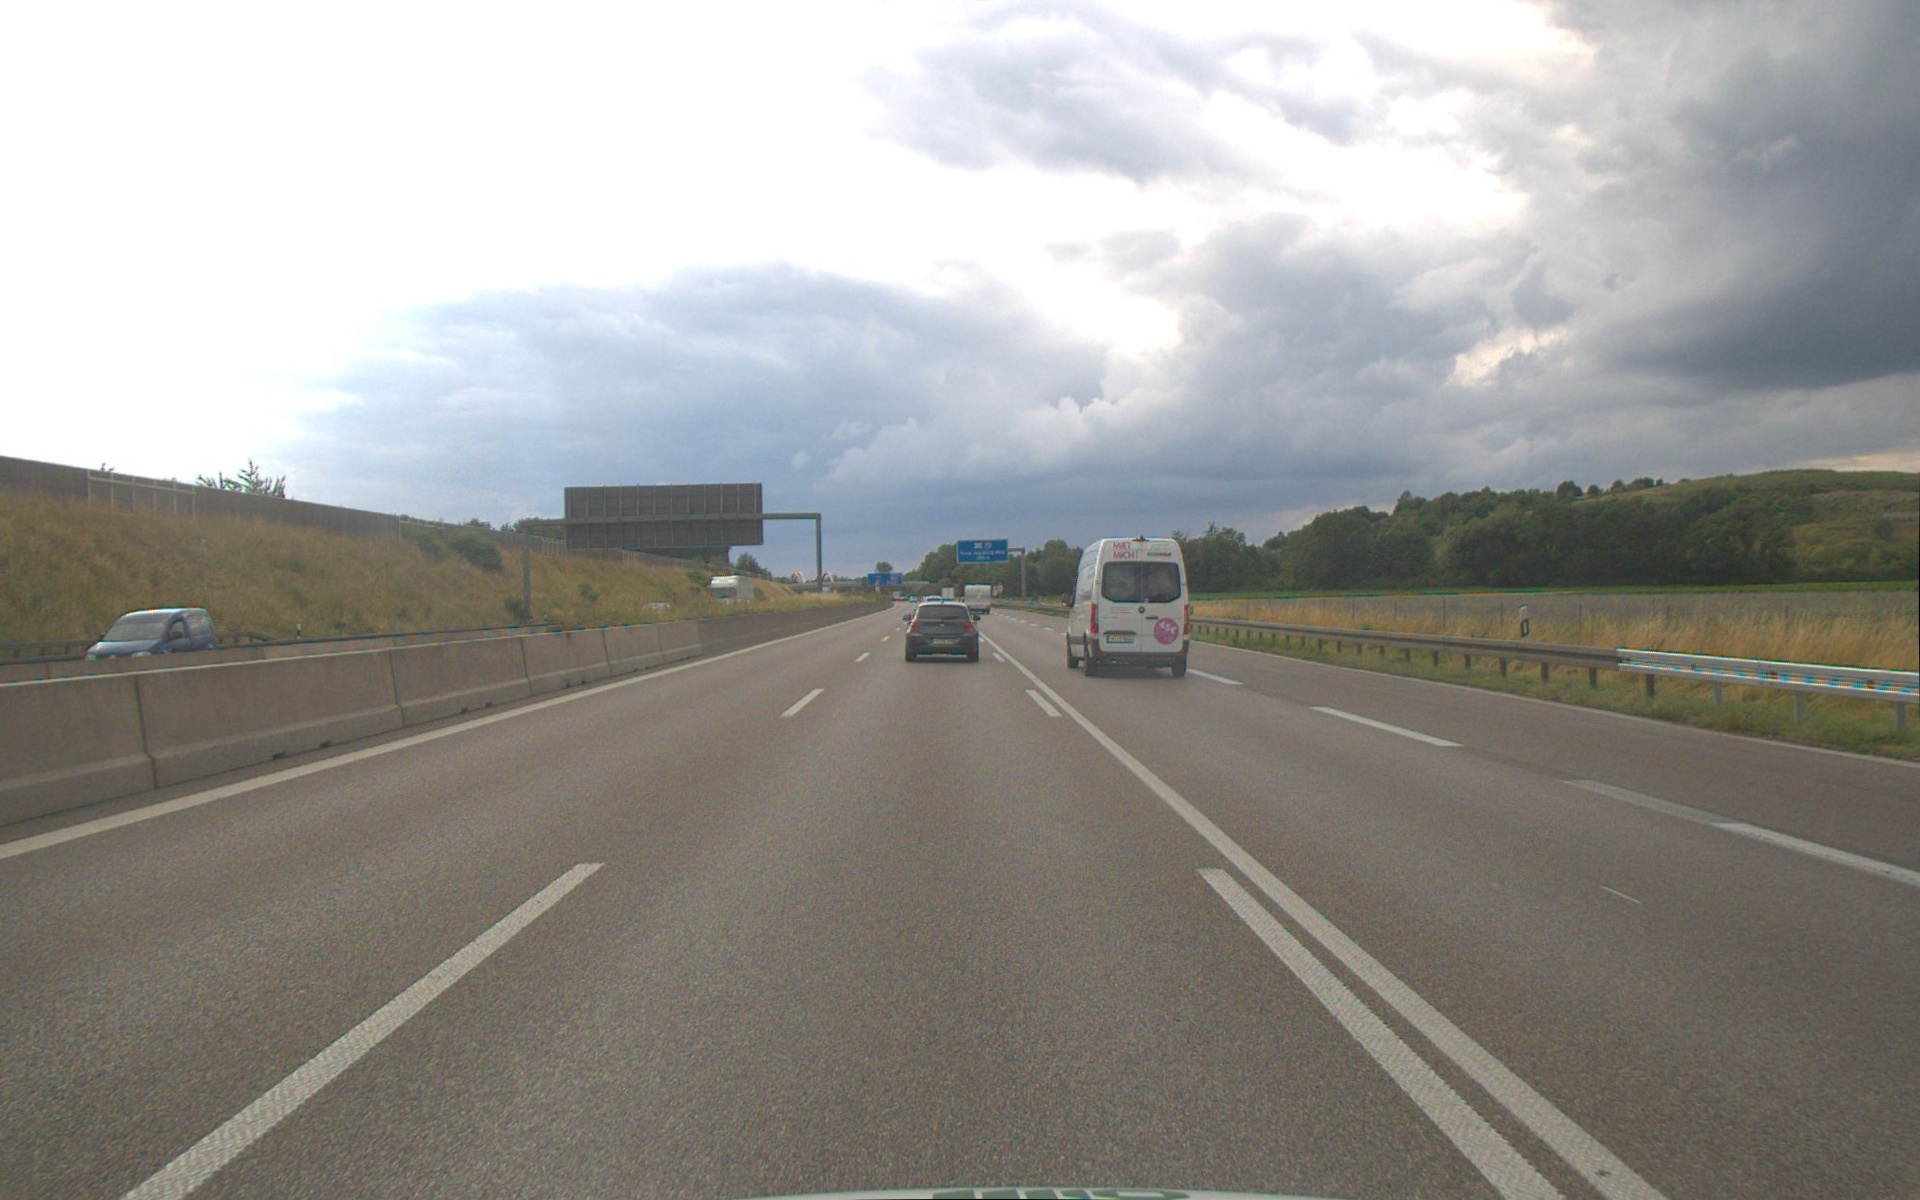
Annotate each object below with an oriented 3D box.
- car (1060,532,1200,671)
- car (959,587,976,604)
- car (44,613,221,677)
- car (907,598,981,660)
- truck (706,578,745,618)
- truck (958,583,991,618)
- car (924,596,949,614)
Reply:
[{"bbox_3d":[3.390,0.017,34.279,2.176,2.613,6.255,0,0,-1],"label":"car"},{"bbox_3d":[0.963,-0.537,203.006,1.953,2.049,3.999,-1,0,-1],"label":"car"},{"bbox_3d":[-20.215,1.058,40.673,1.953,1.388,4.939,1,0,-1],"label":"car"},{"bbox_3d":[-0.389,0.660,40.131,1.708,1.413,3.999,0,0,-1],"label":"car"},{"bbox_3d":[-22.700,-0.172,160.500,2.671,3.741,7.488,-1,0,-1],"label":"truck"},{"bbox_3d":[1.236,0.061,151.119,2.655,3.016,12.444,1,0,-1],"label":"truck"},{"bbox_3d":[-1.870,0.375,131.353,1.953,1.321,3.999,-1,0,-1],"label":"car"}]
